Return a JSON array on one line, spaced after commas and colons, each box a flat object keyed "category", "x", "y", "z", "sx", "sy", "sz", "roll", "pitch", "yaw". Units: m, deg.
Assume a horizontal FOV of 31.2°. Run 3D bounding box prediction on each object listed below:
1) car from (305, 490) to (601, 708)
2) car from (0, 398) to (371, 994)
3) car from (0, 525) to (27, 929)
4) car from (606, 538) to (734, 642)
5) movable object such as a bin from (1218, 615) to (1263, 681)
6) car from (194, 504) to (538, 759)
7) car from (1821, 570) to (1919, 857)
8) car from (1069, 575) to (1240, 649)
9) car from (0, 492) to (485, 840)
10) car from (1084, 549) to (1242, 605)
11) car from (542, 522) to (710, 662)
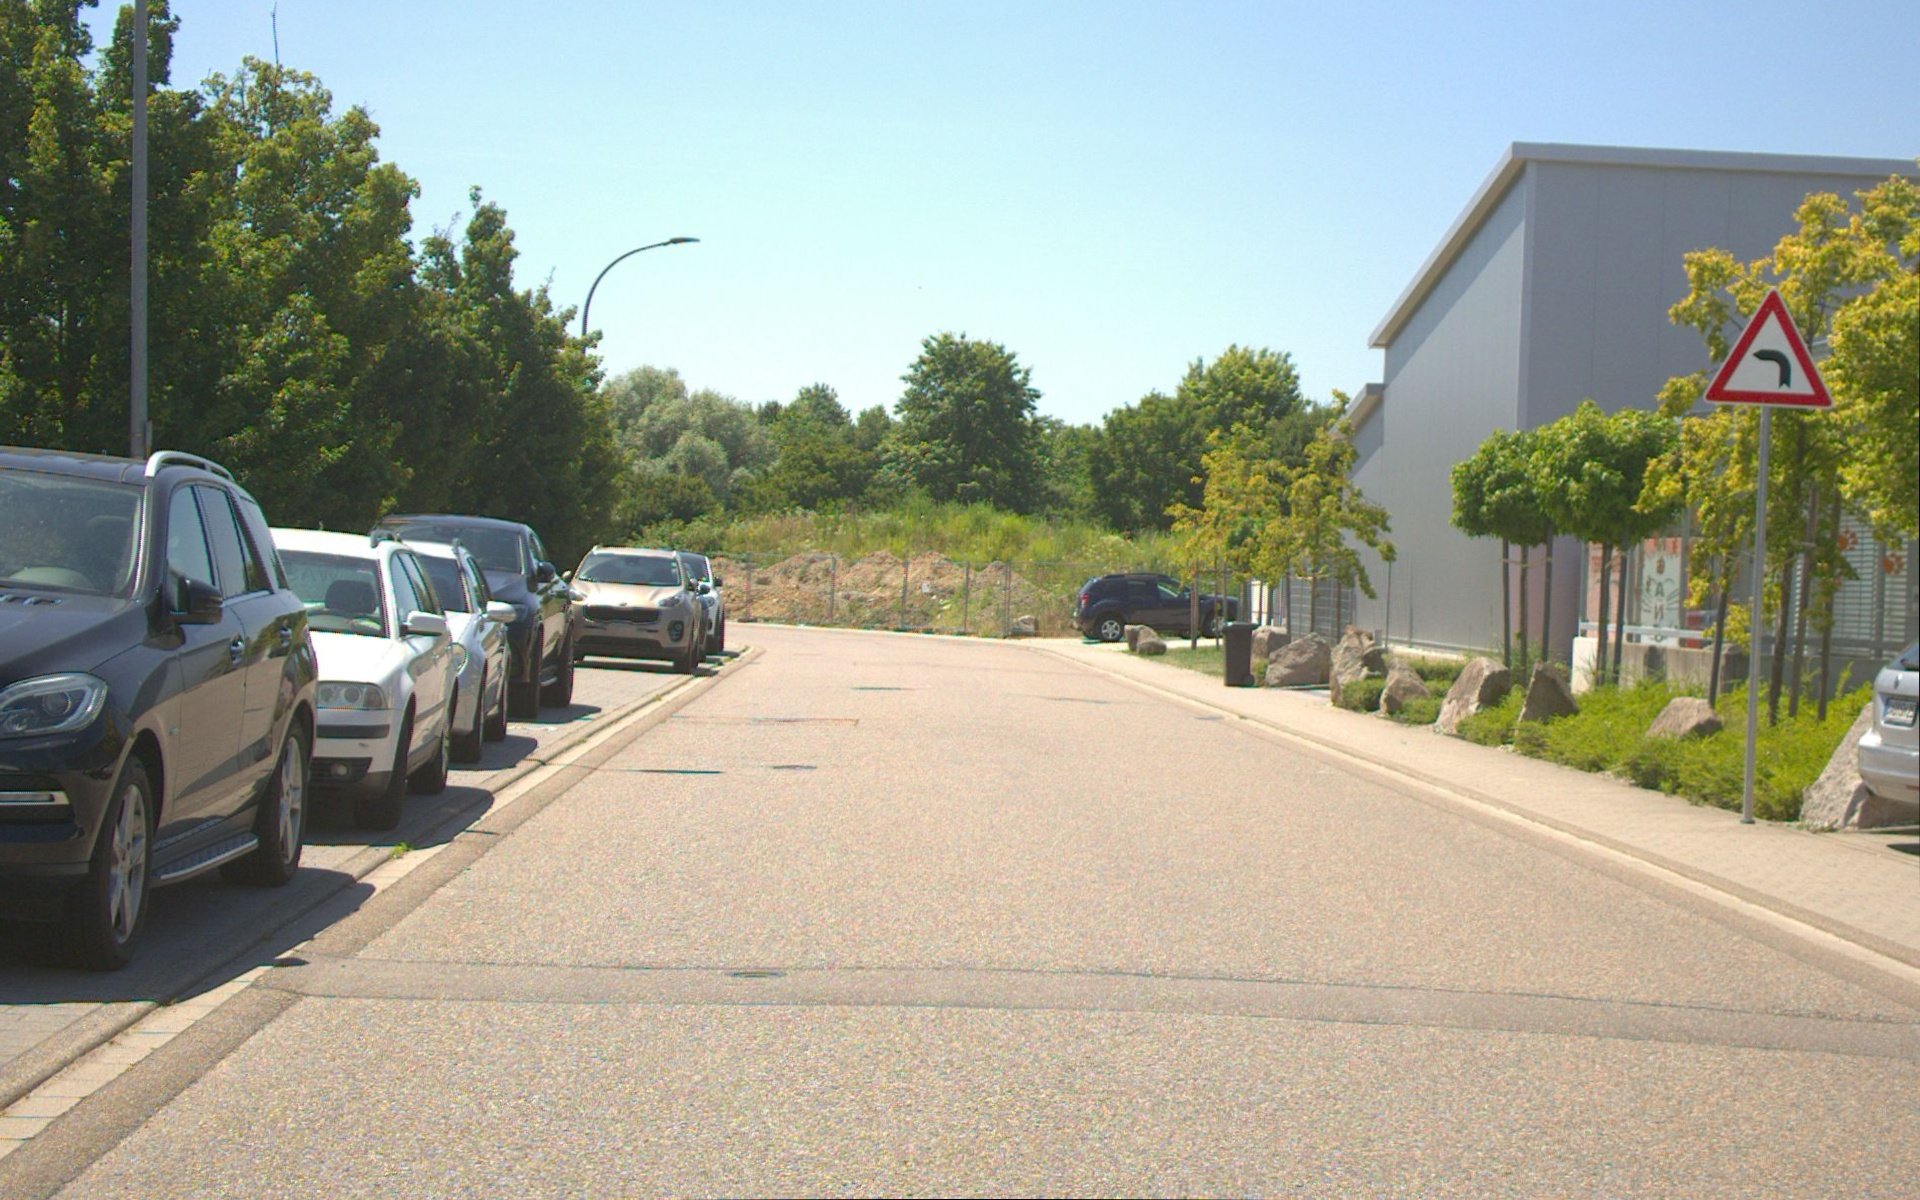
[{"category": "car", "x": -4.533, "y": -0.042, "z": 31.484, "sx": 1.991, "sy": 1.707, "sz": 5.007, "roll": 4, "pitch": 1, "yaw": -2}, {"category": "car", "x": -3.547, "y": 0.199, "z": 12.701, "sx": 1.851, "sy": 1.752, "sz": 4.987, "roll": 4, "pitch": 1, "yaw": -1}, {"category": "car", "x": -3.442, "y": 0.489, "z": 6.961, "sx": 1.851, "sy": 1.438, "sz": 4.754, "roll": 4, "pitch": 1, "yaw": -2}, {"category": "car", "x": -4.977, "y": -0.203, "z": 59.556, "sx": 1.912, "sy": 1.650, "sz": 4.755, "roll": 2, "pitch": 1, "yaw": -2}, {"category": "movable object such as a bin", "x": 4.074, "y": 0.696, "z": 50.028, "sx": 0.558, "sy": 0.943, "sz": 0.539, "roll": 1, "pitch": 0, "yaw": -3}, {"category": "car", "x": -4.129, "y": 0.159, "z": 24.663, "sx": 1.851, "sy": 1.514, "sz": 5.168, "roll": 4, "pitch": 1, "yaw": -4}, {"category": "car", "x": 7.278, "y": 0.660, "z": 19.464, "sx": 4.279, "sy": 1.536, "sz": 1.913, "roll": 2, "pitch": 1, "yaw": 0}, {"category": "car", "x": 4.778, "y": 0.284, "z": 84.958, "sx": 4.009, "sy": 1.650, "sz": 1.858, "roll": -2, "pitch": 1, "yaw": -2}, {"category": "car", "x": -3.700, "y": 0.270, "z": 18.569, "sx": 1.851, "sy": 1.514, "sz": 4.906, "roll": 4, "pitch": 1, "yaw": -4}, {"category": "car", "x": 5.381, "y": -0.611, "z": 91.424, "sx": 4.009, "sy": 1.457, "sz": 1.893, "roll": 0, "pitch": 1, "yaw": -2}, {"category": "car", "x": -4.544, "y": -0.133, "z": 47.335, "sx": 1.912, "sy": 1.707, "sz": 4.413, "roll": 4, "pitch": 1, "yaw": -2}]
